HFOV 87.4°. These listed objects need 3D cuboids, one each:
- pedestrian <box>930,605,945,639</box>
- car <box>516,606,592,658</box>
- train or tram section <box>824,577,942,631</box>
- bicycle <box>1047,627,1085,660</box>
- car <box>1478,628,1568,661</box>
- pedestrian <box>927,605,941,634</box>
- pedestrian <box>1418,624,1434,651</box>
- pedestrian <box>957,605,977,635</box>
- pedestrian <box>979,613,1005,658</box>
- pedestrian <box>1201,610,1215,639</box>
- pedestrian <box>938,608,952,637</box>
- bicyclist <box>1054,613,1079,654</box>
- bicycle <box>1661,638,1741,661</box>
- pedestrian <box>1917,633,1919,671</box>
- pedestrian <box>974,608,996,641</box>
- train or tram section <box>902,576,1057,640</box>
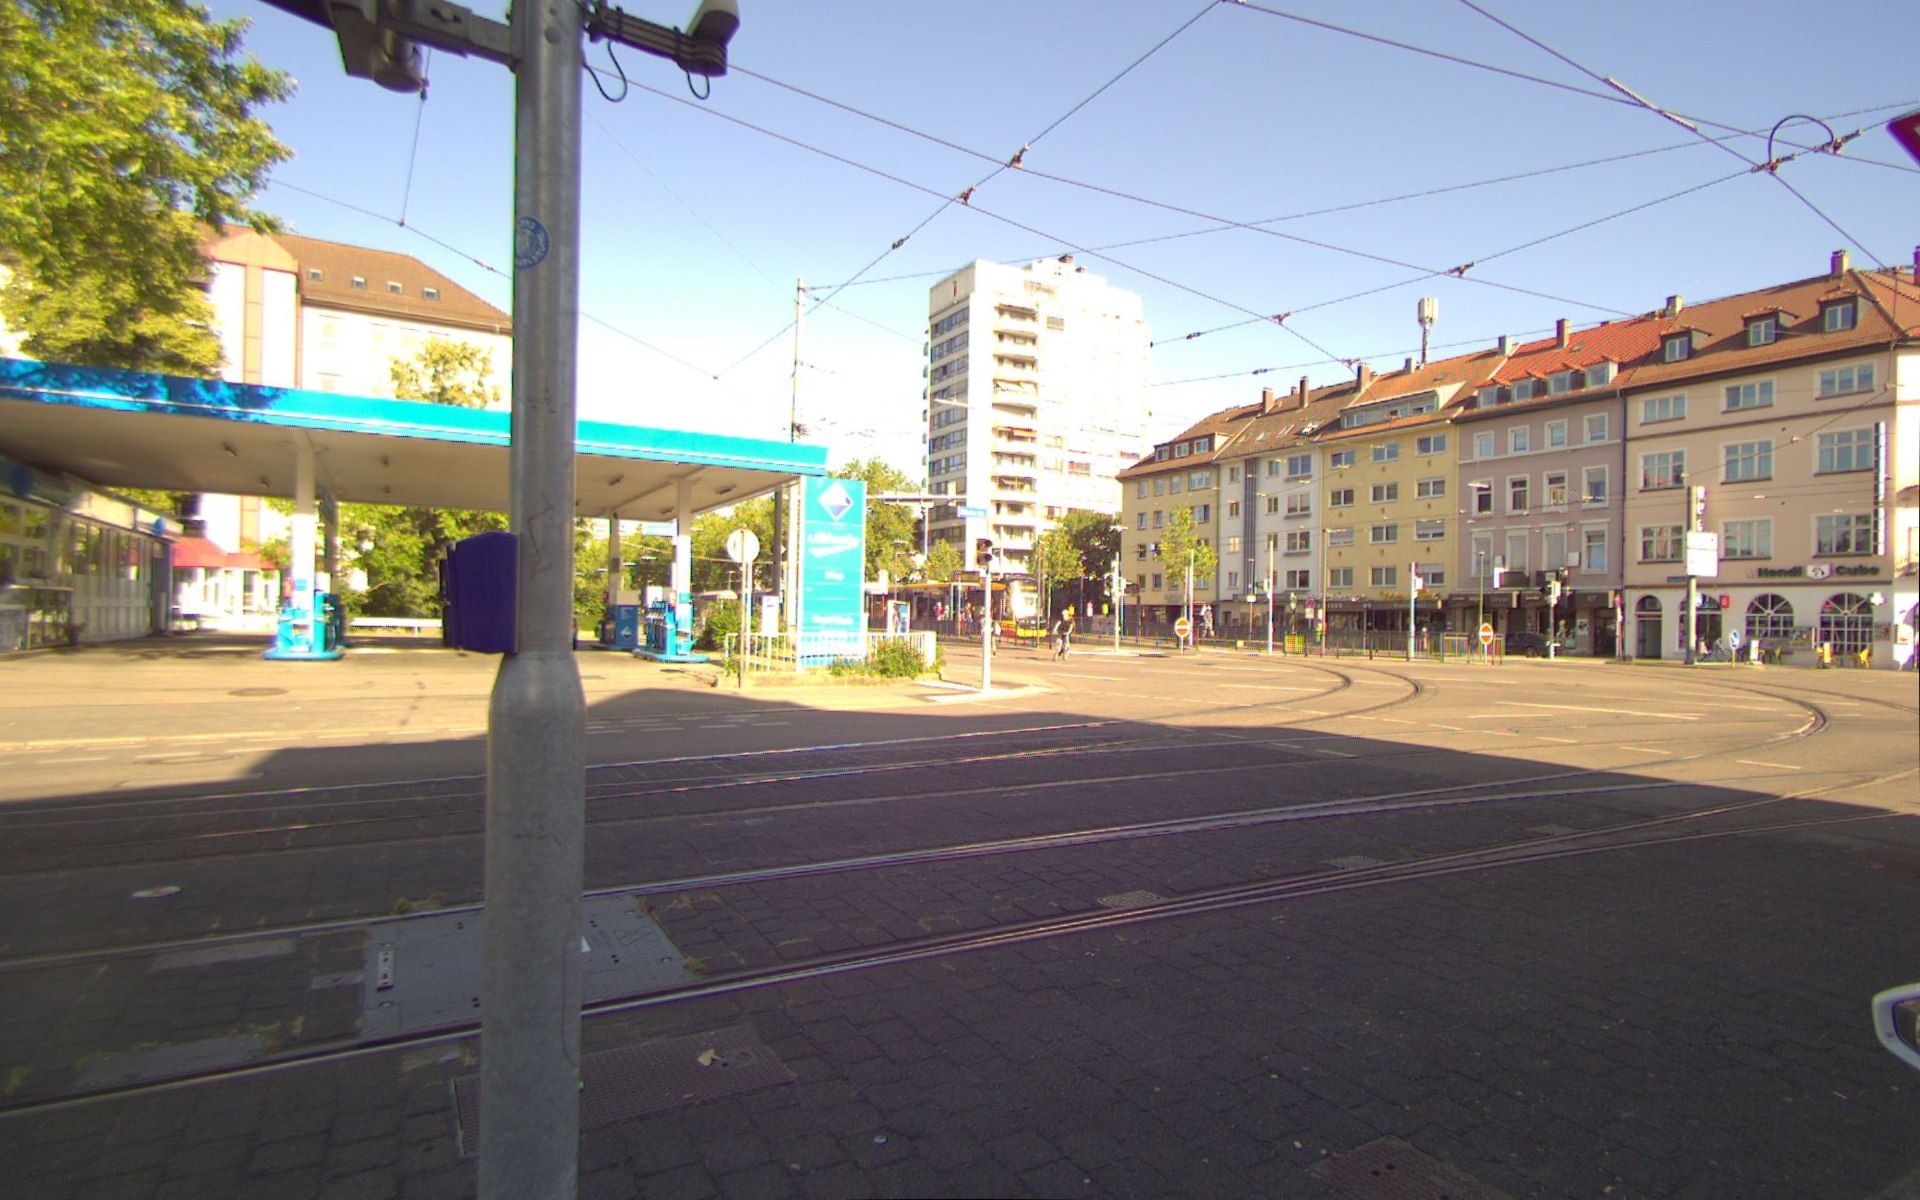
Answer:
[{"bbox_3d":[-1.279,1.234,57.367,0.666,1.913,0.520,2,0,-31],"label":"pedestrian"},{"bbox_3d":[-12.263,0.941,30.215,1.764,1.411,3.455,2,0,-28],"label":"car"},{"bbox_3d":[-5.478,0.202,67.982,2.751,3.273,12.286,2,0,-31],"label":"train or tram section"},{"bbox_3d":[3.685,1.504,34.776,0.565,1.084,1.791,2,0,31],"label":"bicycle"},{"bbox_3d":[30.856,2.419,55.138,1.970,1.692,3.981,1,-1,-21],"label":"car"},{"bbox_3d":[-1.469,1.072,56.287,0.580,1.613,0.520,2,0,-31],"label":"pedestrian"},{"bbox_3d":[29.565,2.384,63.737,0.693,1.656,0.629,2,0,-33],"label":"pedestrian"},{"bbox_3d":[0.361,1.032,51.827,0.814,1.532,0.699,1,-1,-33],"label":"pedestrian"},{"bbox_3d":[1.188,1.320,37.542,0.675,1.656,0.694,2,0,-35],"label":"pedestrian"},{"bbox_3d":[14.721,1.455,59.641,0.570,1.649,0.522,2,0,-31],"label":"pedestrian"},{"bbox_3d":[-0.860,1.276,56.861,0.580,1.613,0.520,2,0,-31],"label":"pedestrian"},{"bbox_3d":[3.687,1.139,34.745,0.550,1.384,0.801,2,0,30],"label":"bicyclist"},{"bbox_3d":[37.501,2.493,50.893,0.989,0.993,3.115,2,0,-29],"label":"bicycle"},{"bbox_3d":[41.607,2.255,43.132,0.460,1.633,0.629,2,0,-33],"label":"pedestrian"},{"bbox_3d":[1.246,1.214,49.863,0.814,1.608,0.699,1,-1,-33],"label":"pedestrian"},{"bbox_3d":[0.775,0.358,57.484,2.751,3.273,12.286,2,0,-31],"label":"train or tram section"}]
